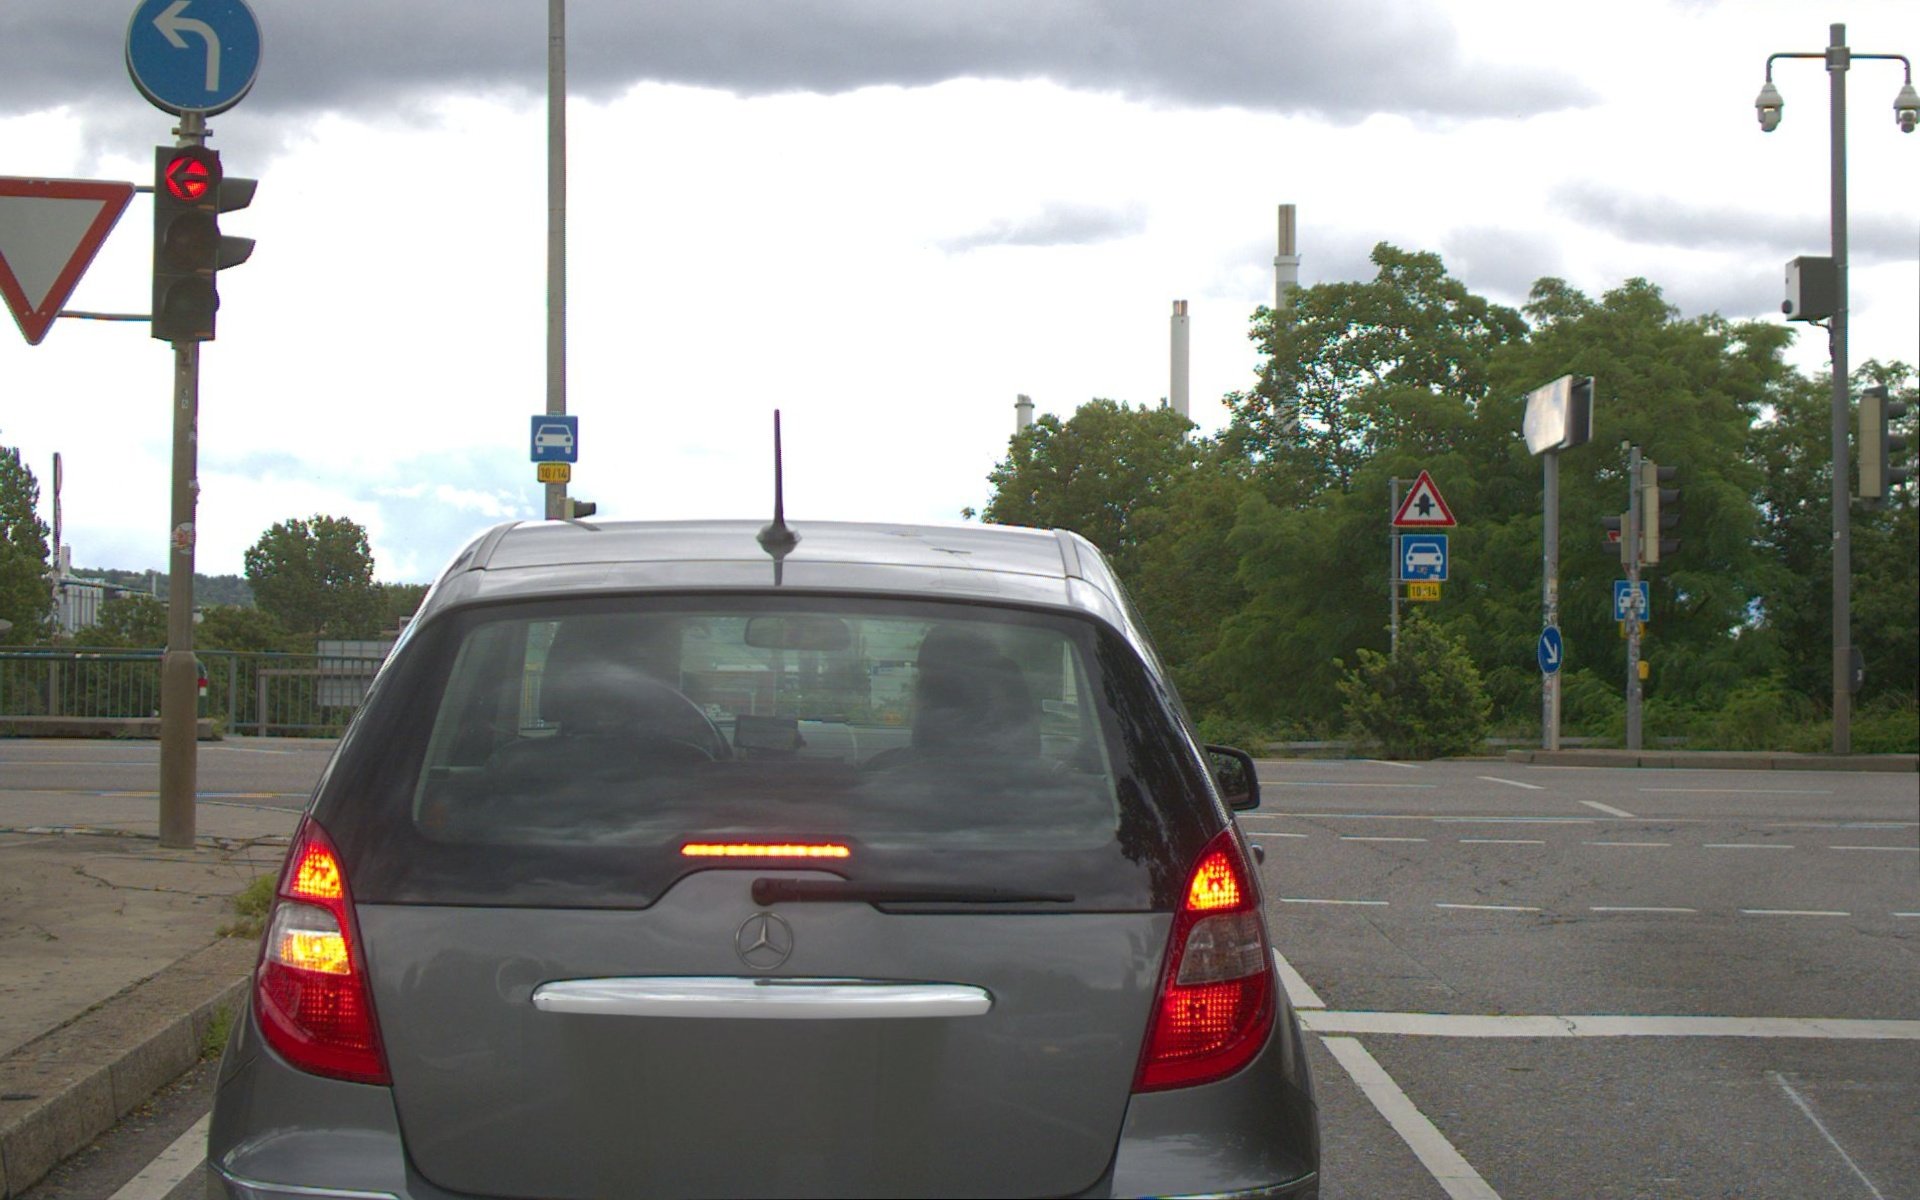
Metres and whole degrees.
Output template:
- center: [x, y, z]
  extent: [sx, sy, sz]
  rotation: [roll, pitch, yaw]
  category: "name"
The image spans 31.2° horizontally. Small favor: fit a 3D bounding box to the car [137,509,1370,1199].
- center: [-0.311, 0.634, 6.660]
  extent: [1.739, 1.538, 3.541]
  rotation: [1, 1, 0]
  category: "car"
